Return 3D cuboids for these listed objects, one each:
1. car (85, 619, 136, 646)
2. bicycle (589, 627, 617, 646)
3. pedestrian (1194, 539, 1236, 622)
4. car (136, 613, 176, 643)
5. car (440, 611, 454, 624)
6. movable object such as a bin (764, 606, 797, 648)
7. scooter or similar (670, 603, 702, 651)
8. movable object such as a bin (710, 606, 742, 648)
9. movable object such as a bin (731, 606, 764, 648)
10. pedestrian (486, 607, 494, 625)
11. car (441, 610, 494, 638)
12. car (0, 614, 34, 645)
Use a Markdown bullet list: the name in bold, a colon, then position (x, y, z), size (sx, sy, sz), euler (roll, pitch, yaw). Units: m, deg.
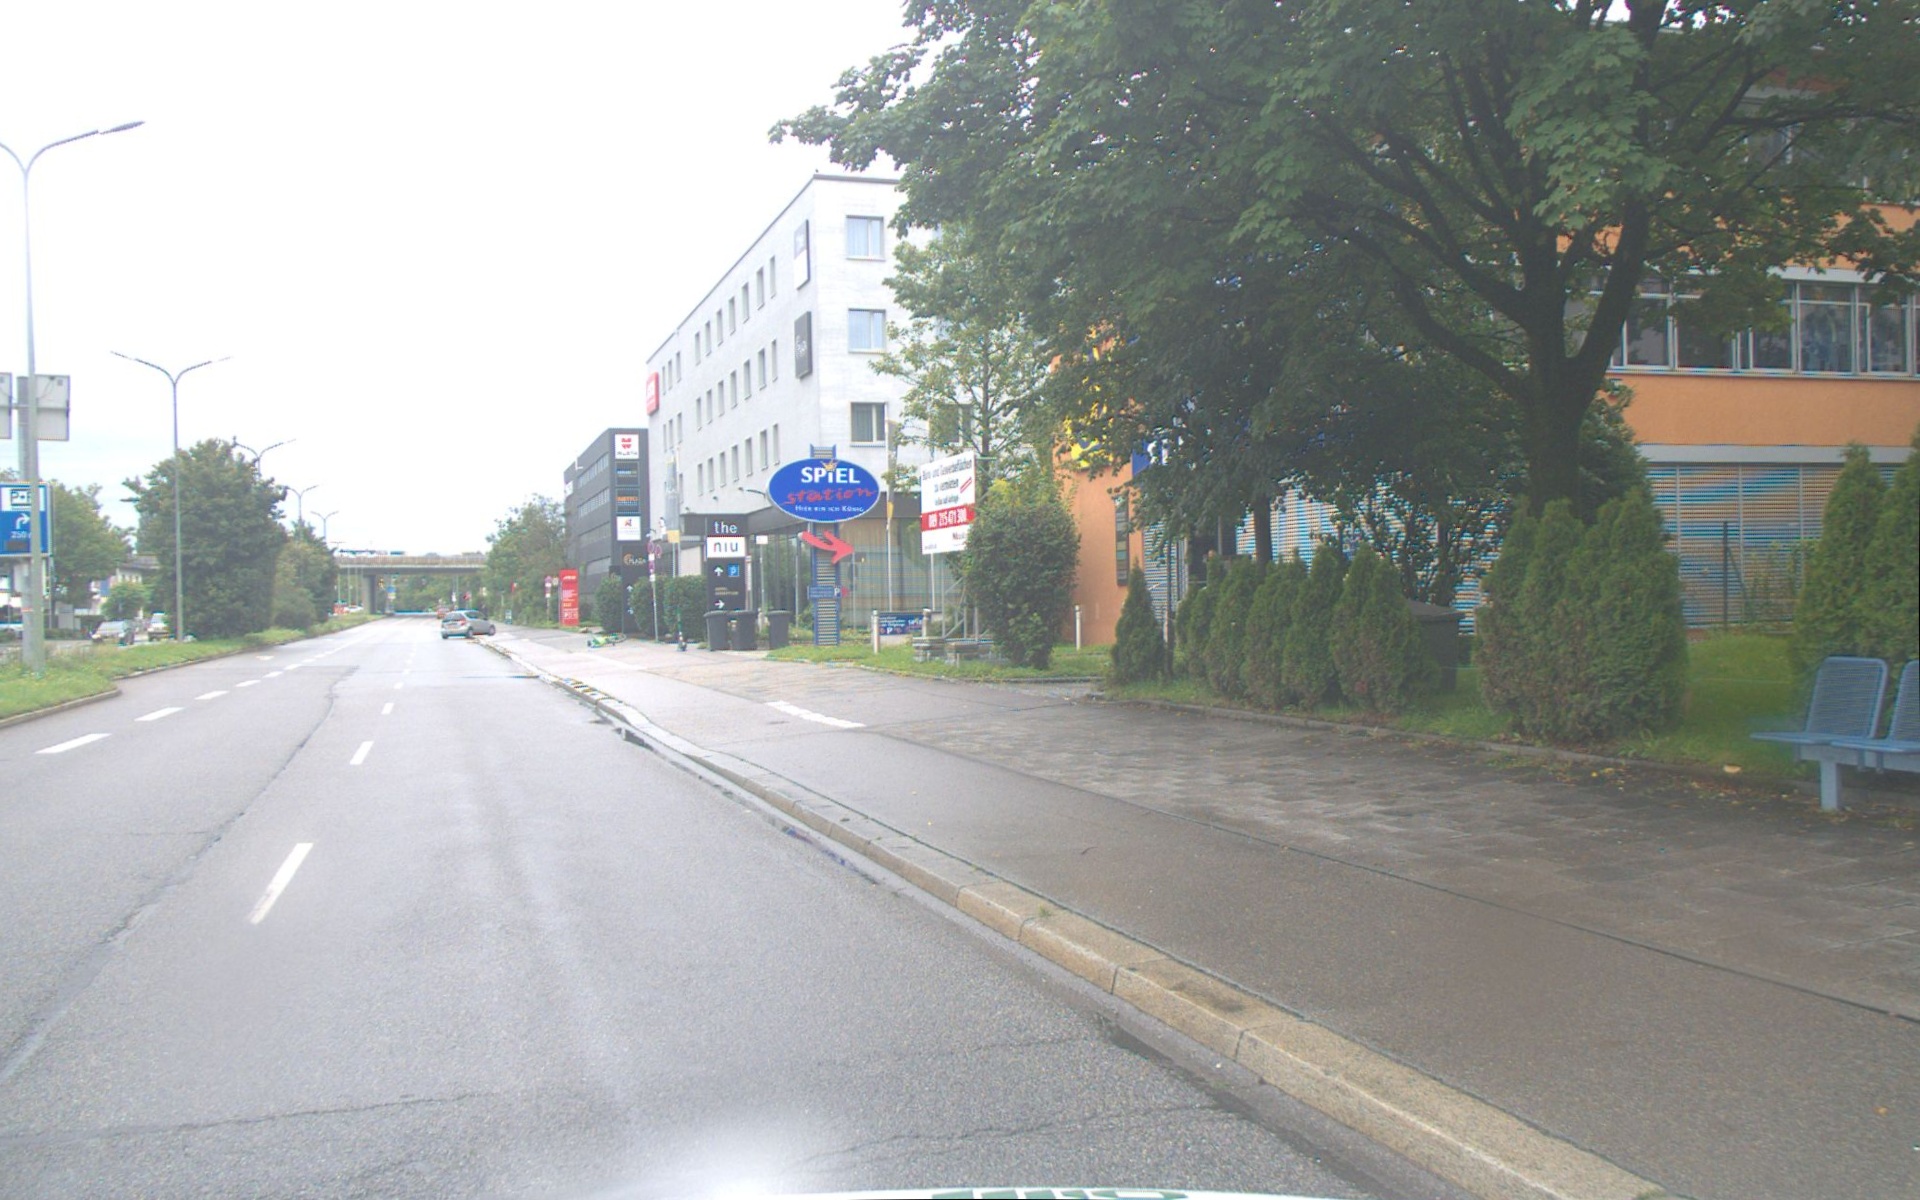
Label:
- **car**: position (-50.503, 1.924, 98.410), size (1.964, 1.425, 4.628), euler (-3, 1, -19)
- **bicycle**: position (-12.198, 1.233, 56.480), size (0.709, 0.558, 1.723), euler (-5, 1, -18)
- **pedestrian**: position (5.436, -0.417, 35.301), size (0.646, 1.742, 0.661), euler (-3, 0, -8)
- **car**: position (-57.705, 1.984, 118.722), size (1.964, 1.995, 4.300), euler (-3, 1, -19)
- **car**: position (-68.843, 2.339, 221.755), size (1.709, 1.575, 4.281), euler (0, 0, -18)
- **movable object such as a bin**: position (-4.885, 0.732, 44.958), size (0.725, 1.097, 0.652), euler (-3, 0, -18)
- **scooter or similar**: position (-7.749, 0.754, 46.813), size (0.577, 1.299, 1.397), euler (-6, 2, -18)
- **movable object such as a bin**: position (-6.377, 0.726, 45.103), size (0.725, 1.097, 0.652), euler (-3, 0, -18)
- **movable object such as a bin**: position (-5.719, 0.718, 44.525), size (0.725, 1.097, 0.652), euler (-3, 0, -18)
- **pedestrian**: position (-50.136, 1.685, 176.499), size (0.678, 1.909, 0.658), euler (-3, 0, -19)
- **car**: position (-28.799, 1.388, 96.841), size (1.776, 1.585, 4.027), euler (-1, 0, 2)
- **car**: position (-63.449, 2.008, 108.270), size (4.607, 1.874, 1.774), euler (-3, 1, -42)
